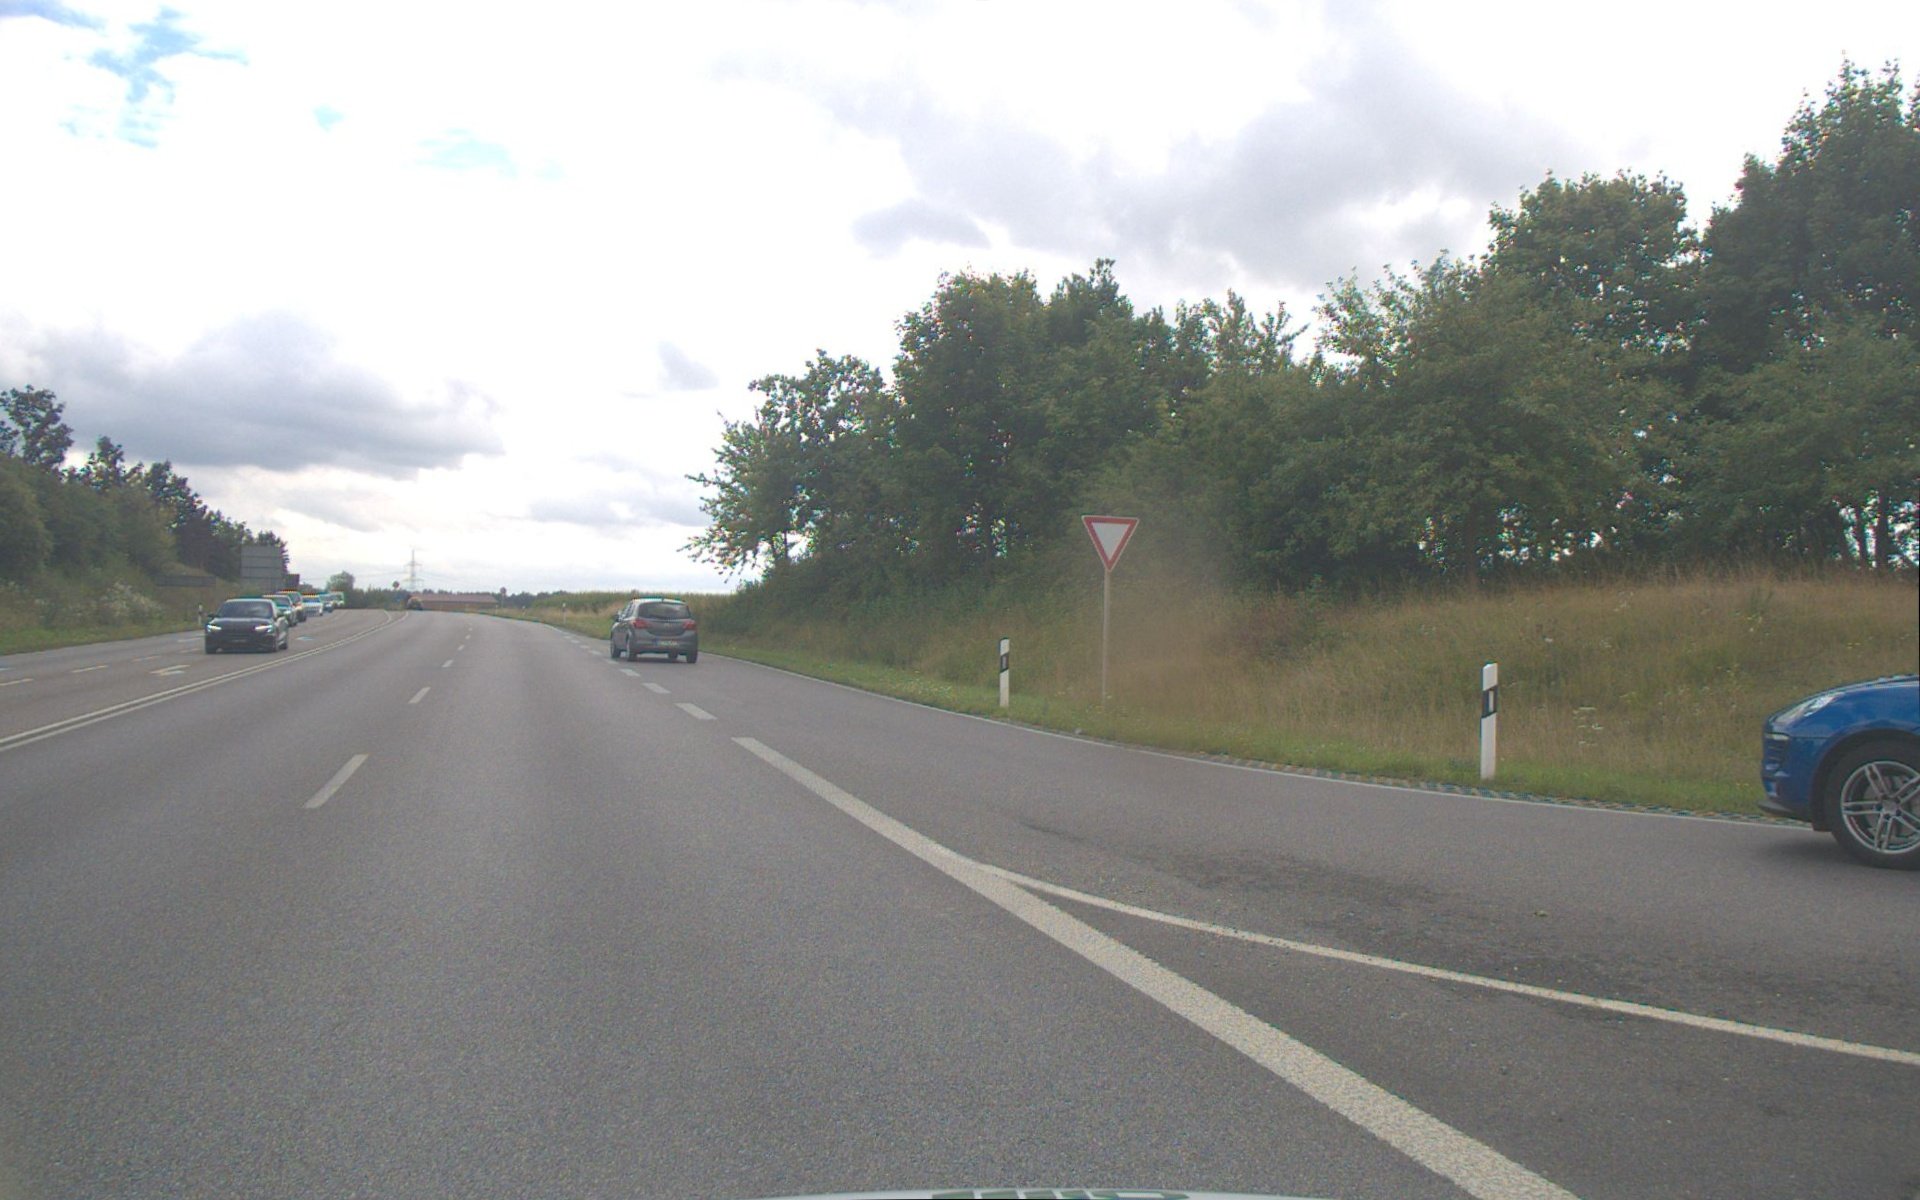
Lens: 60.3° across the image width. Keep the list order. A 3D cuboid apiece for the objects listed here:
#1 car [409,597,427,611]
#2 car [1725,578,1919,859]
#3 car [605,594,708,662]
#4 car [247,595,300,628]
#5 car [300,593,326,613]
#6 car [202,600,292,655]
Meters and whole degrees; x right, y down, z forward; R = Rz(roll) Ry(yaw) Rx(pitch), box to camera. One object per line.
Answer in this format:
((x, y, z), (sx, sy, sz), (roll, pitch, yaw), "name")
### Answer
((-66.706, 0.504, 203.582), (1.962, 1.745, 3.981), (0, 0, -17), "car")
((7.043, 0.678, 9.248), (4.674, 1.598, 1.987), (0, 0, 44), "car")
((-7.527, 0.659, 40.756), (1.963, 1.562, 3.979), (1, 0, -19), "car")
((-32.586, 0.512, 78.624), (1.963, 1.520, 4.966), (0, 0, -18), "car")
((-47.227, 0.197, 120.818), (1.643, 1.467, 4.121), (0, 0, -20), "car")
((-19.564, 0.720, 45.530), (1.737, 1.407, 4.522), (0, 0, -17), "car")
